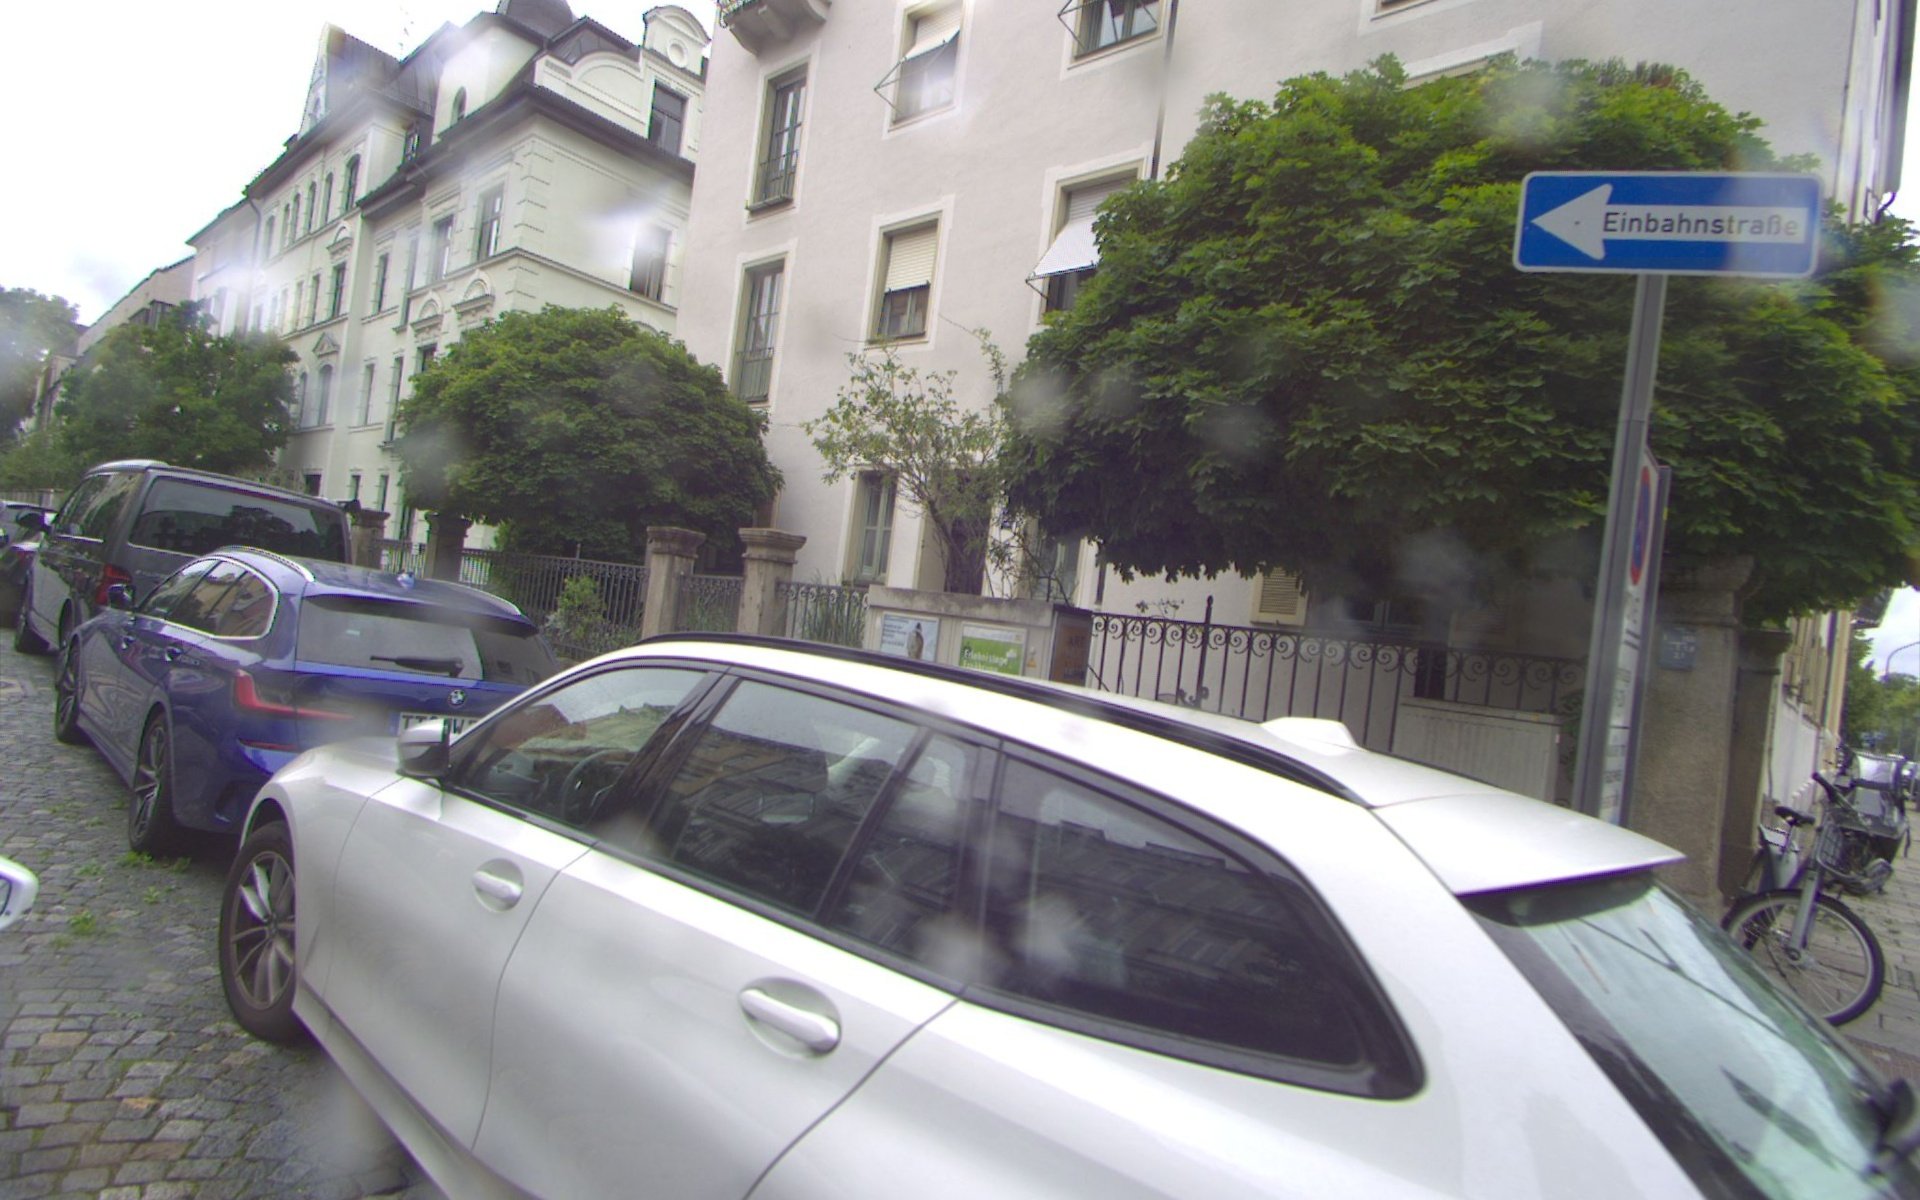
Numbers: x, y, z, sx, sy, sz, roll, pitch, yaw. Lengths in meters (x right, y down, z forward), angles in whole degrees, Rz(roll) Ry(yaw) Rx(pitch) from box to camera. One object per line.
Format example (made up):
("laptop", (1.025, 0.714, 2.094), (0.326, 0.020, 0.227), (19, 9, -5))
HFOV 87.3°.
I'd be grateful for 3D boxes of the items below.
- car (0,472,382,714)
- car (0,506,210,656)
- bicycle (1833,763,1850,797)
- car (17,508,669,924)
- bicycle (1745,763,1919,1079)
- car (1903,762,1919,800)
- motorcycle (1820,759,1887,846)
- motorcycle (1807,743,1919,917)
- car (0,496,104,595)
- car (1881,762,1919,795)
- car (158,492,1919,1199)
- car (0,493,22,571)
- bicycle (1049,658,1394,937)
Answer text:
("car", (-7.595, -0.157, 9.698), (4.784, 1.710, 2.019), (6, -2, 43))
("car", (-11.734, -0.339, 13.374), (4.738, 1.449, 1.921), (6, -5, 44))
("bicycle", (32.045, 6.542, 36.583), (0.338, 1.148, 1.752), (7, -2, 41))
("car", (-4.014, 0.418, 6.090), (4.809, 1.523, 1.929), (5, -4, 42))
("bicycle", (4.589, 1.555, 5.302), (0.535, 1.240, 1.772), (7, -1, 37))
("car", (46.239, 8.678, 47.746), (1.974, 1.649, 5.076), (4, -4, 43))
("motorcycle", (15.032, 3.373, 16.968), (0.724, 1.253, 1.999), (5, -3, 41))
("motorcycle", (9.374, 2.278, 10.371), (0.847, 1.450, 2.697), (6, -2, 40))
("car", (-19.124, -1.181, 20.580), (3.994, 1.653, 1.920), (5, -4, 44))
("car", (52.135, 9.804, 55.126), (1.971, 1.476, 4.941), (4, -4, 39))
("car", (-0.335, 0.722, 2.658), (4.855, 1.547, 1.907), (6, -4, 43))
("car", (-22.543, -1.667, 22.767), (3.494, 1.655, 1.657), (5, -1, 45))
("bicycle", (1.528, 1.116, 6.146), (1.892, 1.290, 0.466), (5, -3, 40))
